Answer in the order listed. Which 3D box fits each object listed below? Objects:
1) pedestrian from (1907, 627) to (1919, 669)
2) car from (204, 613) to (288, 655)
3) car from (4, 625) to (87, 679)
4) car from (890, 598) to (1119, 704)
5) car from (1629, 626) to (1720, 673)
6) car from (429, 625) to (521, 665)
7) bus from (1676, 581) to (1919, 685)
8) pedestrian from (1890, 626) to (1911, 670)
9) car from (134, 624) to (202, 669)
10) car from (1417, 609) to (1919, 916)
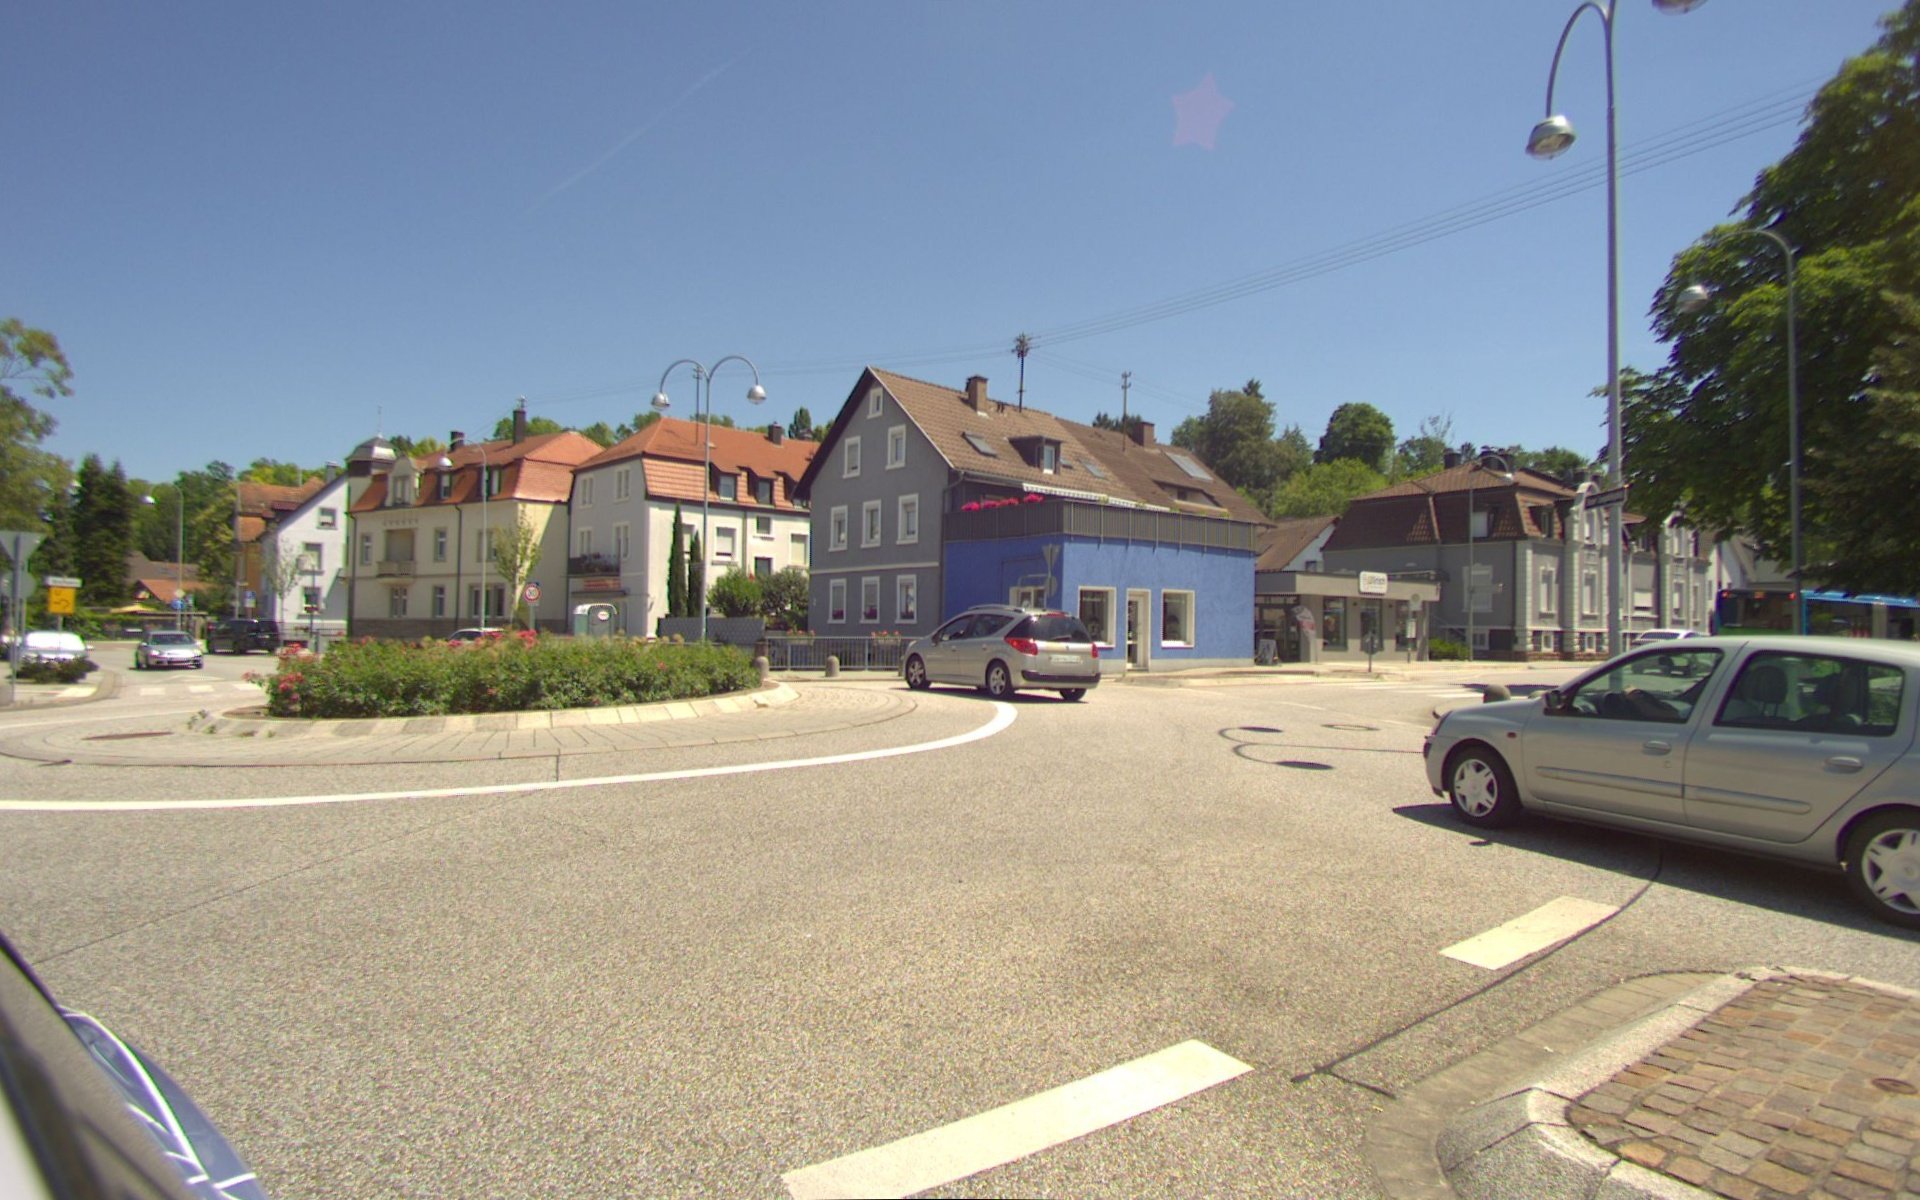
[{"bbox_3d":[35.923,1.799,37.979,0.534,1.533,0.491,1,-2,-40],"label":"pedestrian"},{"bbox_3d":[-37.155,1.735,52.656,3.983,2.029,1.980,2,0,29],"label":"car"},{"bbox_3d":[-28.199,1.540,31.222,1.769,1.536,4.004,1,-2,-42],"label":"car"},{"bbox_3d":[0.605,0.806,17.136,1.716,1.528,4.220,5,-3,-32],"label":"car"},{"bbox_3d":[27.019,1.836,38.230,4.341,1.674,1.907,1,-2,-42],"label":"car"},{"bbox_3d":[-18.864,1.709,39.290,4.073,1.402,1.589,-1,1,38],"label":"car"},{"bbox_3d":[32.778,1.200,37.706,17.764,3.195,3.729,2,0,-33],"label":"bus"},{"bbox_3d":[35.609,1.802,38.333,0.570,1.663,0.505,1,-2,-41],"label":"pedestrian"},{"bbox_3d":[-30.959,1.763,39.661,1.967,1.668,4.213,1,-2,-37],"label":"car"},{"bbox_3d":[4.780,0.818,6.001,1.523,1.423,3.731,3,-2,-22],"label":"car"}]
